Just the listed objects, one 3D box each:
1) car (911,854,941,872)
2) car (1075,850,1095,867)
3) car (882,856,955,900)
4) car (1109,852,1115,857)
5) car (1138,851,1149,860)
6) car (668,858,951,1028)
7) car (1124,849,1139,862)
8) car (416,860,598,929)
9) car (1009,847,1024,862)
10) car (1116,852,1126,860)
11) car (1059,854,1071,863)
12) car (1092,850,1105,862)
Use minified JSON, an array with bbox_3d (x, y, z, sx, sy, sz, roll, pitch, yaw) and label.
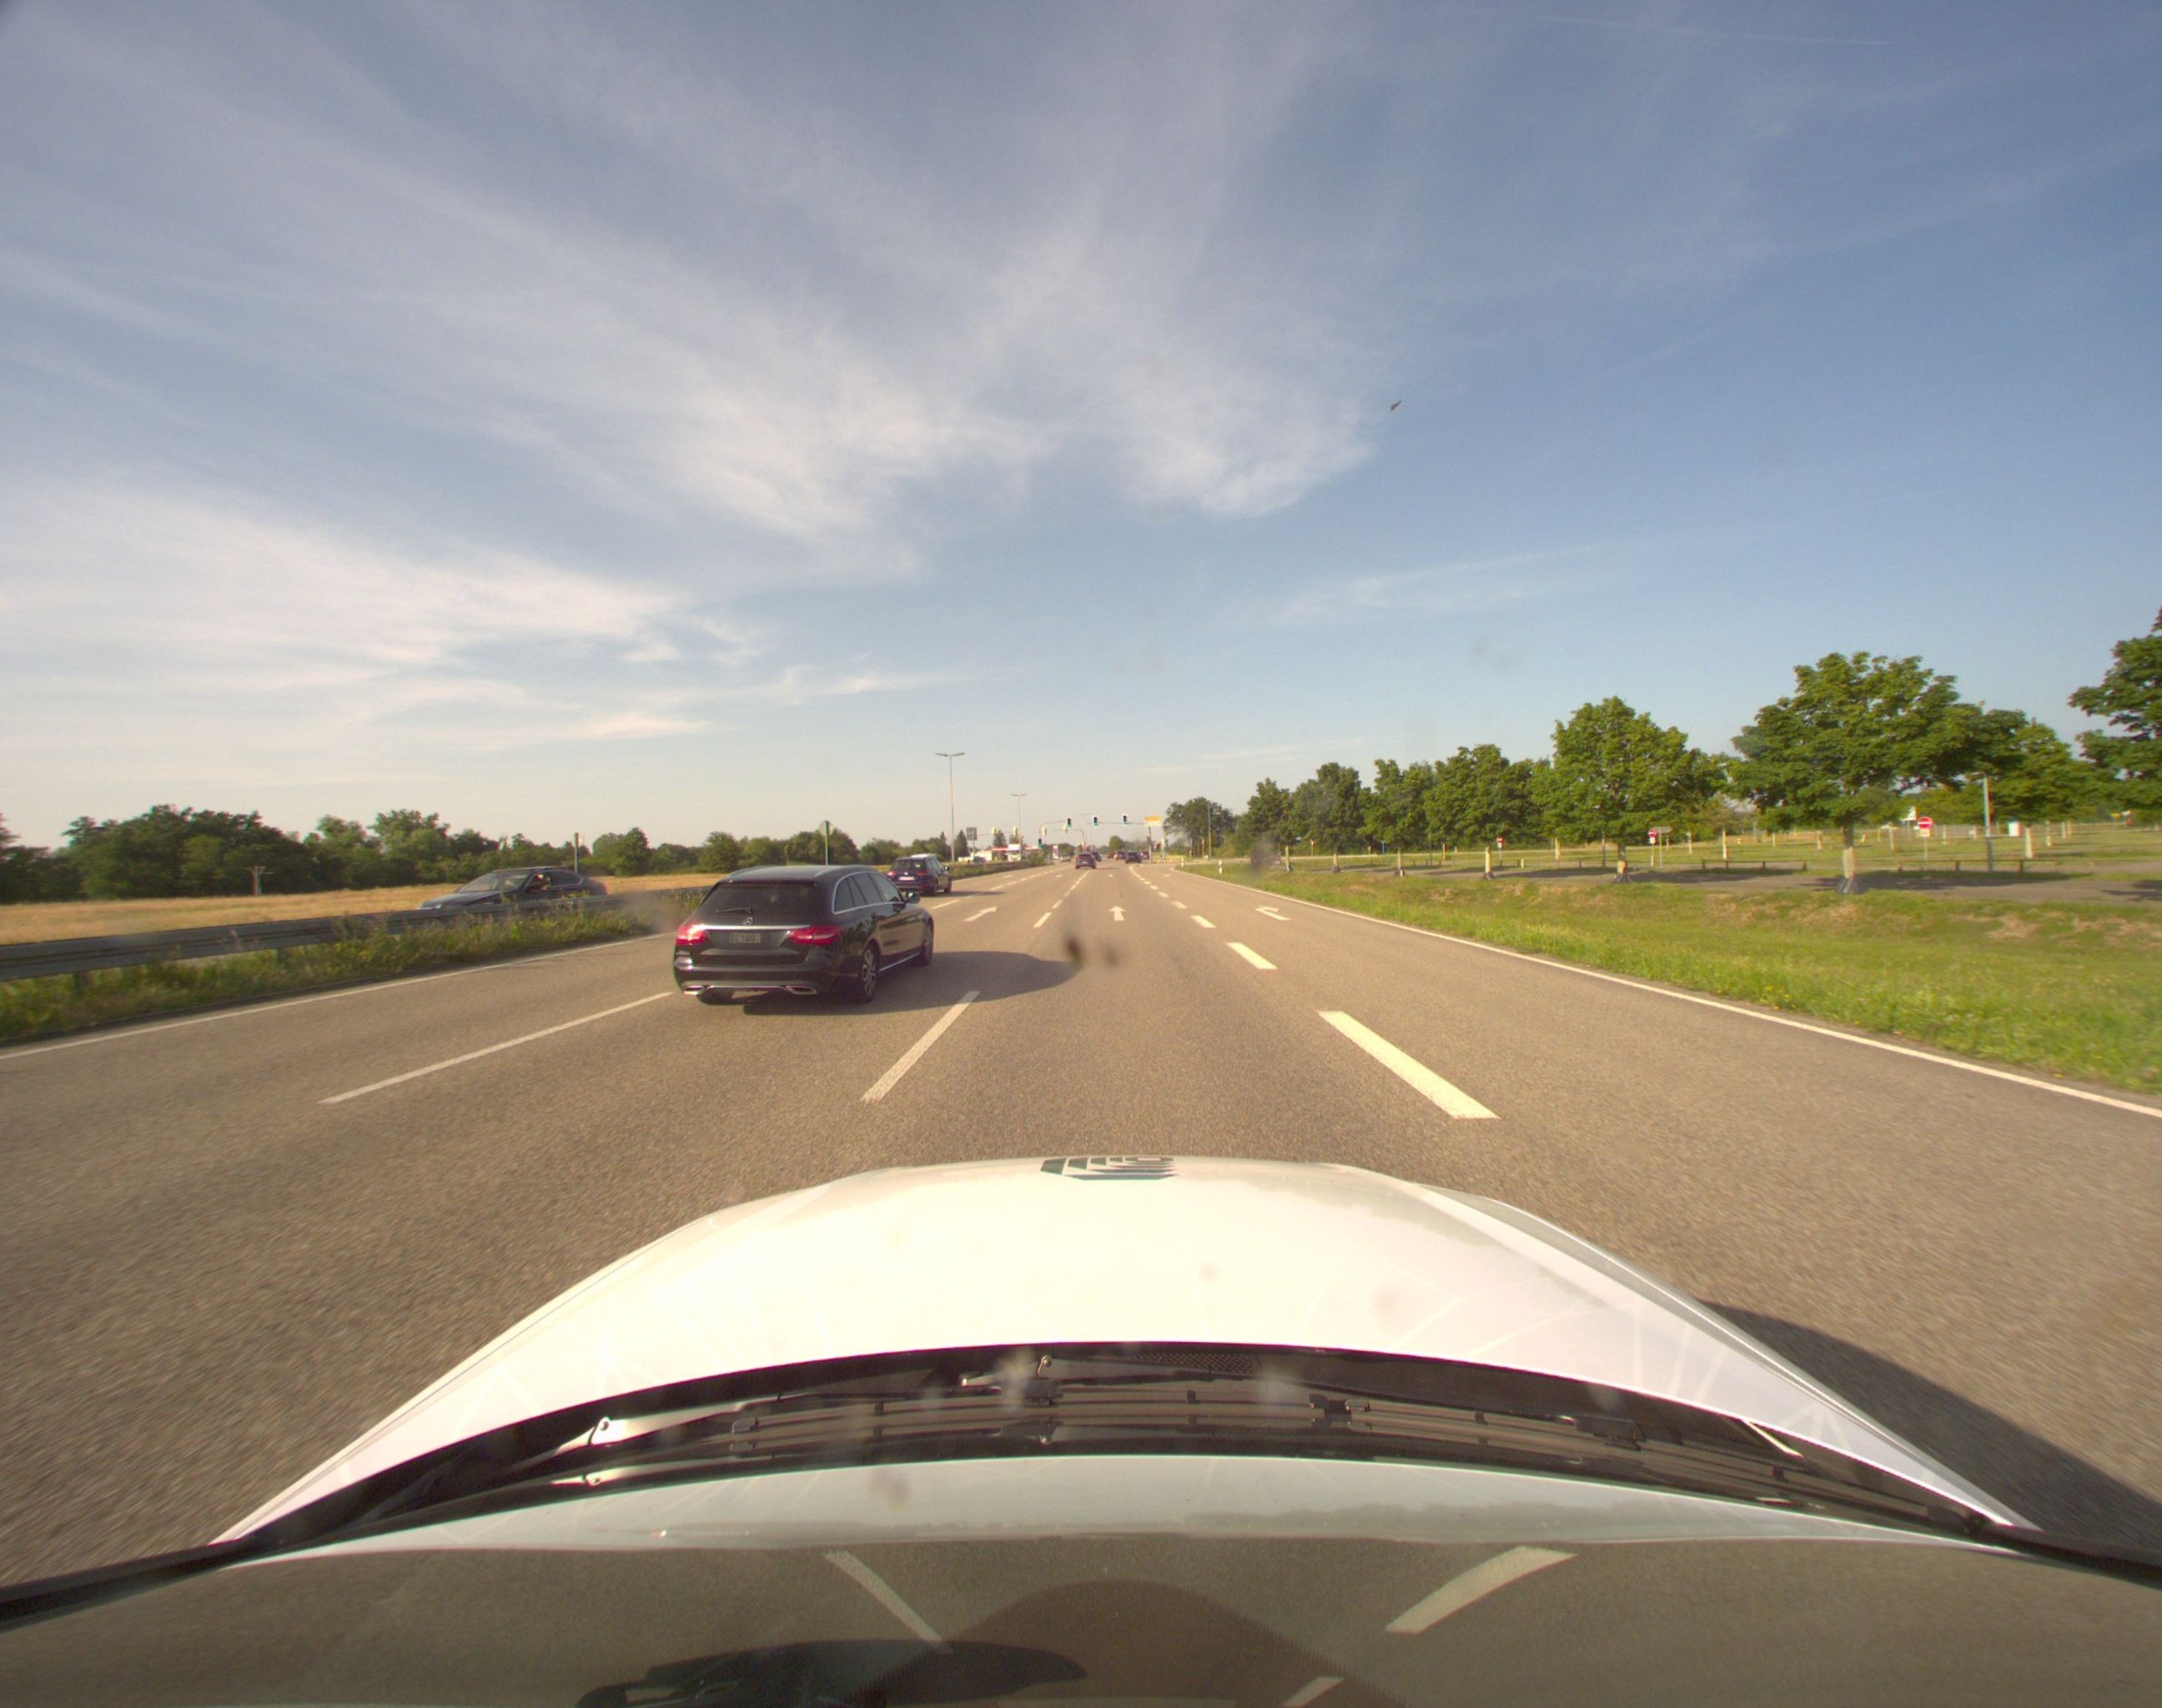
[{"bbox_3d":[-11.952,0.675,62.946,1.515,1.363,3.445,-1,0,2],"label":"car"},{"bbox_3d":[0.448,0.415,80.035,1.839,1.611,4.403,0,0,2],"label":"car"},{"bbox_3d":[-6.046,0.851,30.822,1.640,1.471,4.778,-2,0,2],"label":"car"},{"bbox_3d":[9.362,0.281,243.485,1.806,1.463,3.808,0,0,2],"label":"car"},{"bbox_3d":[11.016,0.240,144.053,1.742,1.617,3.759,0,0,2],"label":"car"},{"bbox_3d":[-2.875,0.822,9.926,1.566,1.471,5.025,-2,0,2],"label":"car"},{"bbox_3d":[6.888,0.205,110.935,1.925,1.680,4.403,0,0,2],"label":"car"},{"bbox_3d":[-13.245,0.883,19.079,1.604,1.441,3.621,-1,-1,2],"label":"car"},{"bbox_3d":[-12.452,0.083,157.691,2.263,2.852,5.251,-1,0,2],"label":"car"},{"bbox_3d":[7.267,0.311,148.063,1.806,1.463,4.403,0,0,2],"label":"car"},{"bbox_3d":[-2.811,0.790,144.007,1.592,1.532,4.006,0,0,5],"label":"car"},{"bbox_3d":[2.839,0.301,130.121,1.986,1.882,4.001,-1,-1,2],"label":"car"}]
